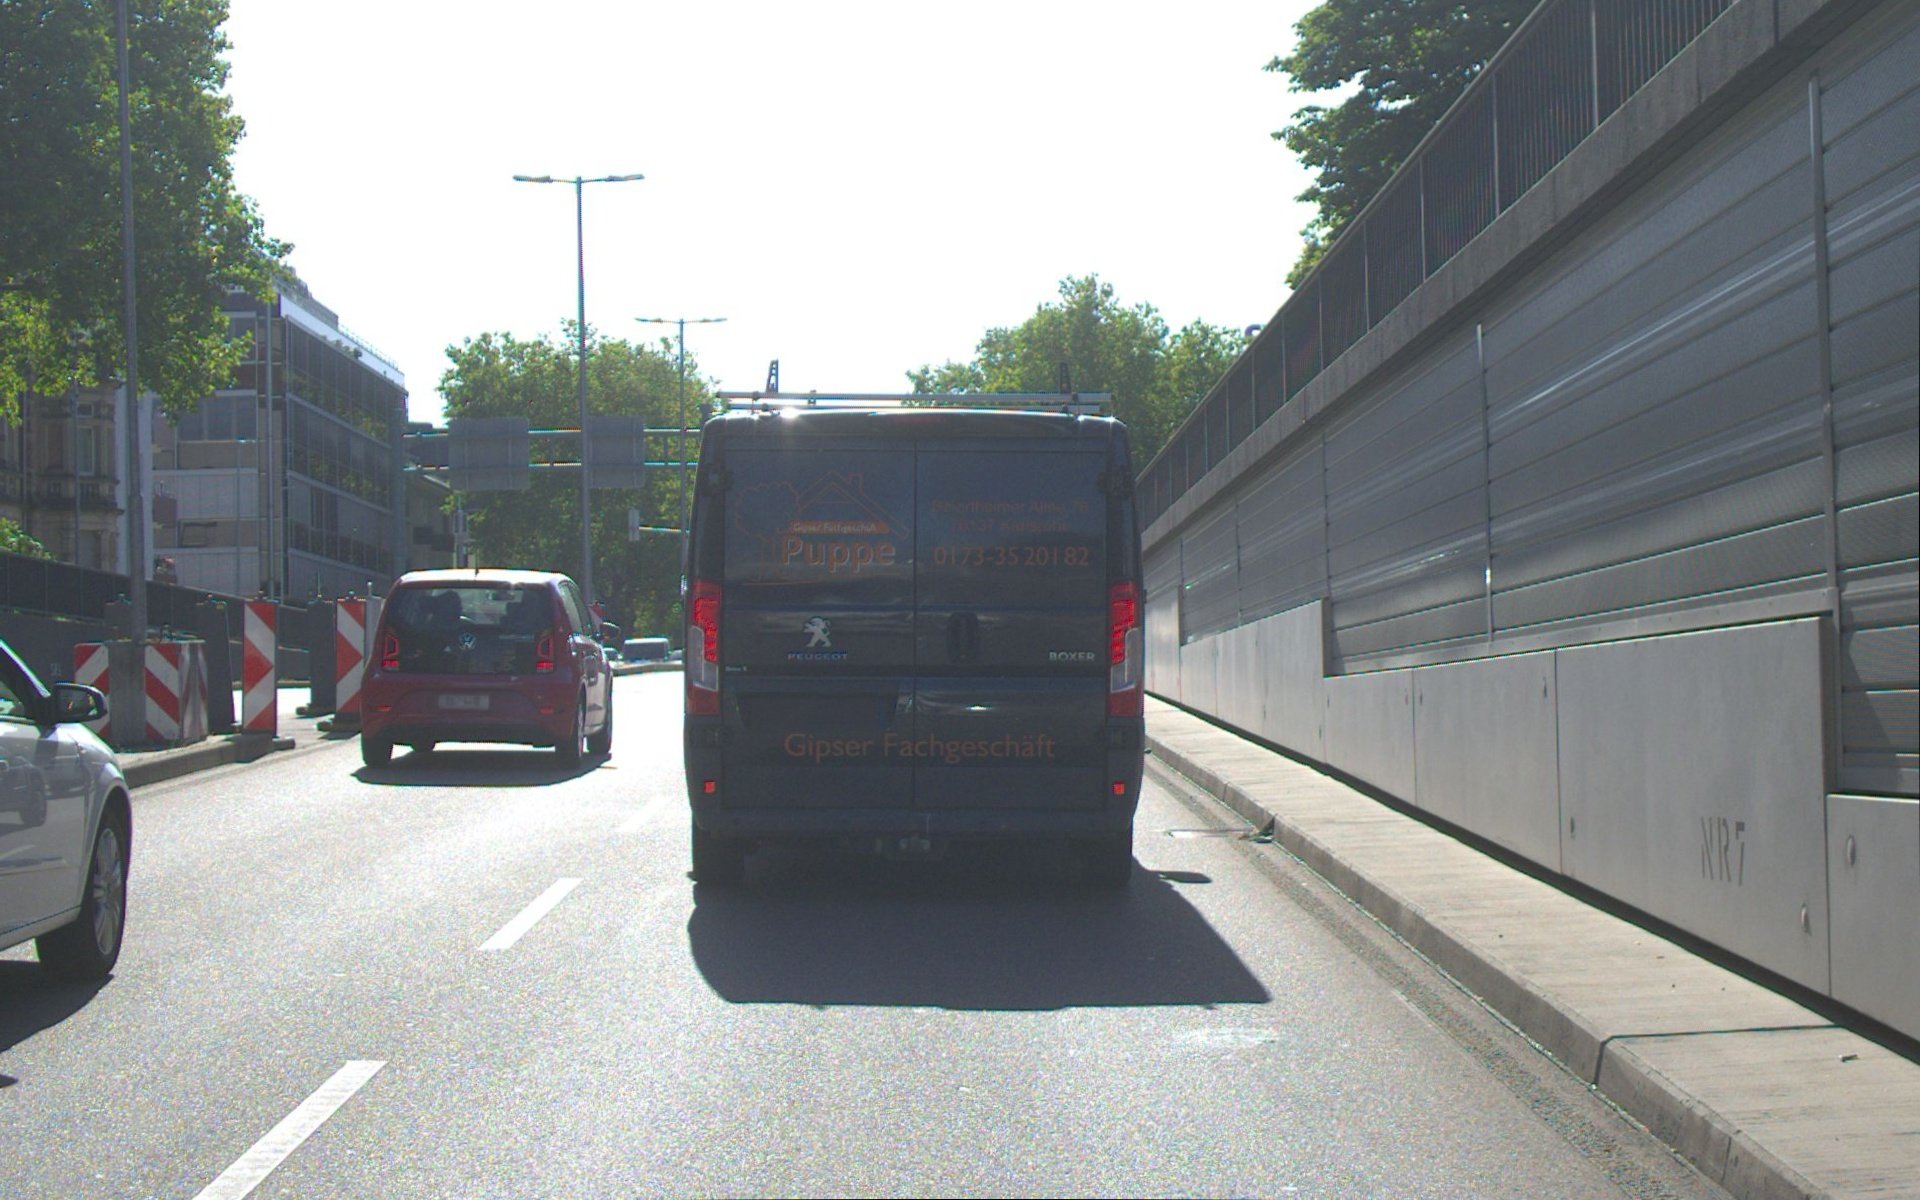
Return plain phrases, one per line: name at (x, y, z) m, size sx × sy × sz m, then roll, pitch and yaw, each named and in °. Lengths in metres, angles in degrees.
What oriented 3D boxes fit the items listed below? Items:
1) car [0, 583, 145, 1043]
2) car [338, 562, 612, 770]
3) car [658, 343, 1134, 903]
car at (-3.722, 0.640, 10.455) m, size 1.619 × 1.398 × 3.852 m, roll 0°, pitch 0°, yaw -1°
car at (-3.662, 0.459, 26.440) m, size 1.689 × 1.478 × 3.319 m, roll 0°, pitch 1°, yaw -1°
car at (-0.294, 0.103, 16.718) m, size 2.030 × 2.394 × 3.973 m, roll 0°, pitch 0°, yaw -1°
